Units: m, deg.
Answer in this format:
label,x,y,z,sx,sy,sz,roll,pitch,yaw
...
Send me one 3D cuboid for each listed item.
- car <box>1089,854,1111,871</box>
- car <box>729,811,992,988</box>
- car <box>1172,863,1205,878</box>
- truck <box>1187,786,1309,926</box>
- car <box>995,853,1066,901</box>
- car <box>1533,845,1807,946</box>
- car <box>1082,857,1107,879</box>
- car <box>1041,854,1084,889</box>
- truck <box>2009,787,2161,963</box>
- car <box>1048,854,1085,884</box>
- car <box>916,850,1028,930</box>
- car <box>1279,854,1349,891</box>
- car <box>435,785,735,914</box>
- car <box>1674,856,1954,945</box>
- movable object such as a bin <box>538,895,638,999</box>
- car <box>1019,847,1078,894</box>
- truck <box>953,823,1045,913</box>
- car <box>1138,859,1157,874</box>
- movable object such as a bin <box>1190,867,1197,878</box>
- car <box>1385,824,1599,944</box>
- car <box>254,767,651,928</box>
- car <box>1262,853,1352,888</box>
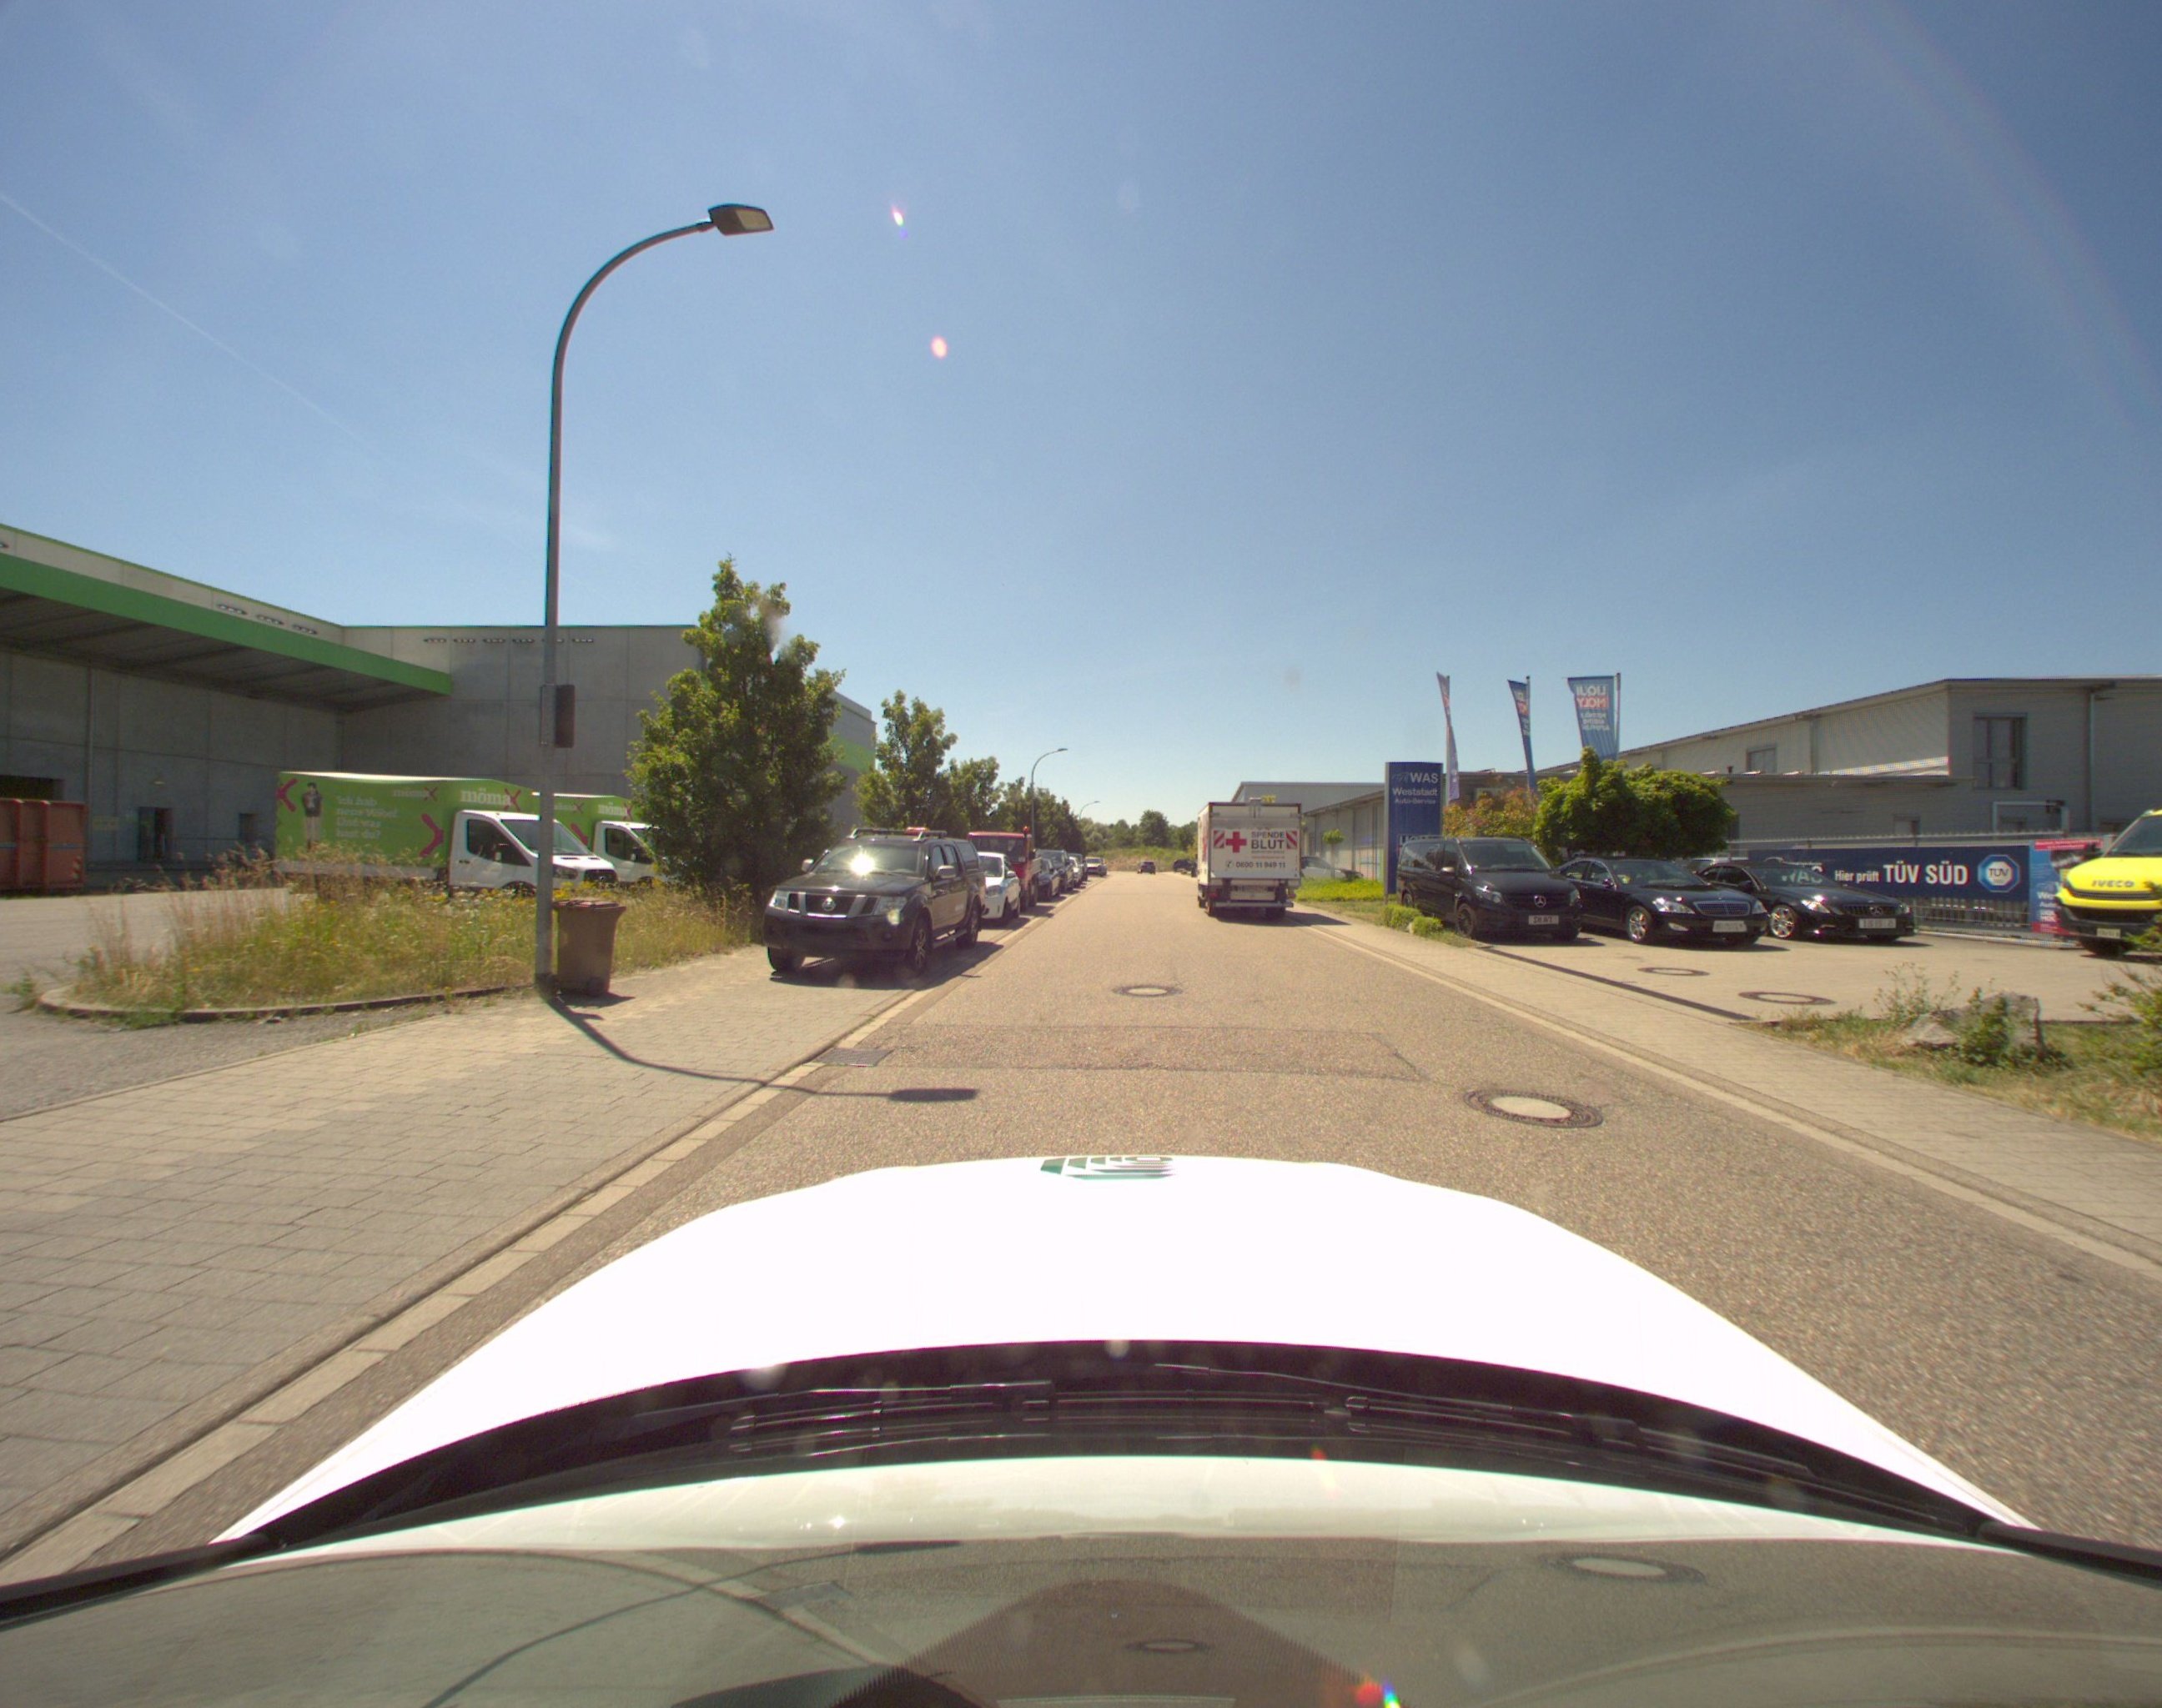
label,x,y,z,sx,sy,sz,roll,pitch,yaw
car,1.883,0.814,80.074,1.904,1.655,4.759,1,0,3
car,-2.756,0.516,11.787,1.965,1.901,5.407,2,0,3
car,13.903,2.077,105.578,3.993,1.655,1.859,-4,-1,2
truck,4.322,0.055,22.367,2.445,3.205,6.892,1,0,5
car,-1.656,0.748,28.432,1.843,1.443,4.758,2,0,4
car,10.490,0.622,15.048,1.984,1.536,4.596,0,1,4
car,1.182,1.165,68.624,1.904,1.713,4.416,2,0,3
car,-0.845,0.804,39.895,1.845,1.519,4.905,2,0,1
truck,17.523,0.274,11.561,5.906,2.370,2.183,0,-1,4
car,-0.754,0.798,45.810,1.845,1.519,5.167,2,0,1
car,-2.328,0.736,18.359,1.844,1.551,3.768,2,0,2
car,9.957,0.789,34.935,2.693,1.541,1.414,0,-1,4
car,-12.313,-0.113,20.568,5.950,2.926,2.523,1,0,2
car,13.445,0.752,15.346,1.794,1.370,4.120,0,1,4
movable object such as a bin,-4.908,0.904,8.139,0.545,0.950,0.683,1,0,2
car,-1.277,0.646,34.217,1.843,1.758,4.992,2,0,4
truck,-2.189,0.361,23.054,1.844,2.222,4.649,2,0,3
car,7.855,1.435,96.291,1.906,1.713,4.031,1,0,1
movable object such as a bin,9.778,1.567,70.715,0.556,0.946,0.540,0,-1,2
car,7.933,0.519,16.439,1.984,2.014,5.342,0,0,4
car,-12.287,-0.126,16.281,5.950,2.824,2.523,1,0,2
car,10.328,0.744,37.395,3.675,1.541,1.915,0,-1,4
